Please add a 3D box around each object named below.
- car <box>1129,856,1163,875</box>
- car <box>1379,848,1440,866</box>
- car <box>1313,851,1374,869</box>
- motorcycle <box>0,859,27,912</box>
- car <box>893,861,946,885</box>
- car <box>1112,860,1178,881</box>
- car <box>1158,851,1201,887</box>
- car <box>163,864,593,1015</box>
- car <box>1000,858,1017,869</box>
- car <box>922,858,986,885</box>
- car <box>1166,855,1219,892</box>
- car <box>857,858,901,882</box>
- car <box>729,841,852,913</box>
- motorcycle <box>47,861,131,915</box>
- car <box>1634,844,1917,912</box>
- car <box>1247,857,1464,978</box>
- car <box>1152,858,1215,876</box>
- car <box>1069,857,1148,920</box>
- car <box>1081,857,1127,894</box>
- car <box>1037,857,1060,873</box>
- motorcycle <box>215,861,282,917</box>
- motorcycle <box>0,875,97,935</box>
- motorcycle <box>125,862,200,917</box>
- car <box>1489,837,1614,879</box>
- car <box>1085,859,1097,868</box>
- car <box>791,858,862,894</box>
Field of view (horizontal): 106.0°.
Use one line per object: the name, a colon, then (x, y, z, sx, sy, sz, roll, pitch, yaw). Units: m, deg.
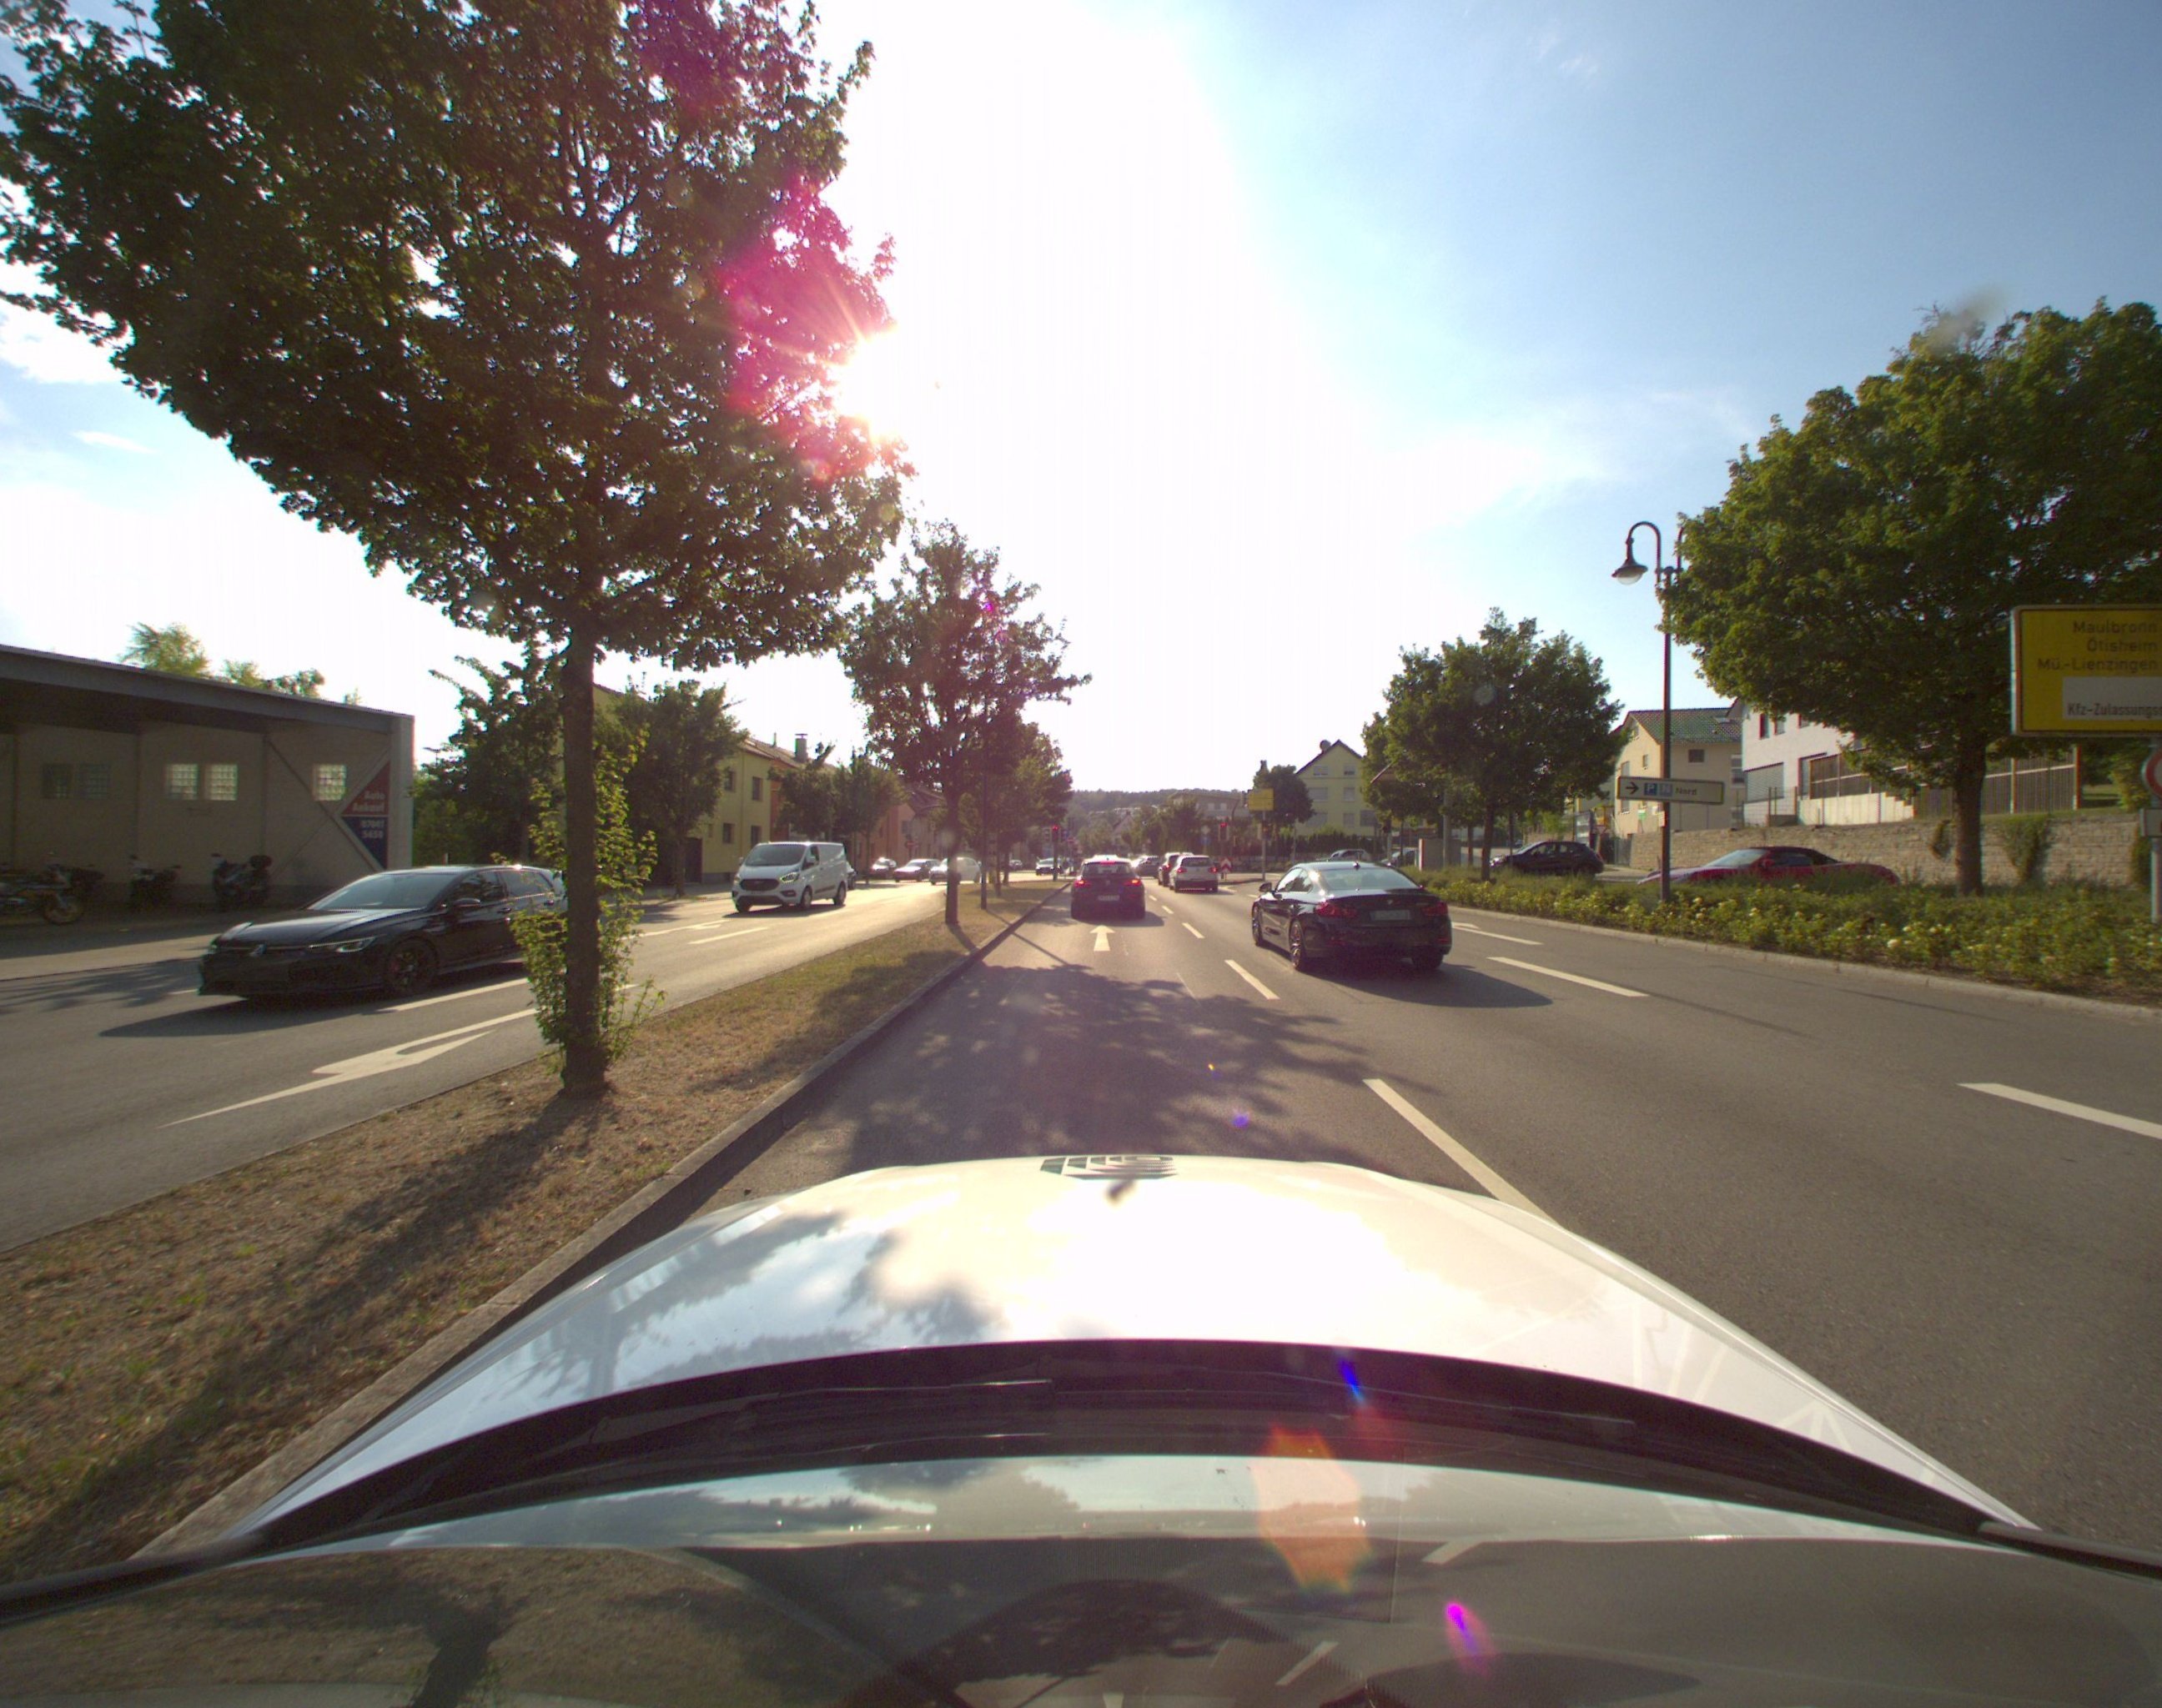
car: (6.169, 1.072, 77.761, 1.893, 1.702, 4.502, -2, 0, -14)
car: (25.424, 0.237, 63.054, 4.181, 1.386, 1.643, 0, 0, -14)
car: (21.767, 0.489, 67.555, 4.653, 1.485, 1.858, 0, 0, -16)
motorcycle: (-27.102, 0.789, 20.078, 0.585, 1.307, 2.071, 0, 0, -29)
car: (-10.442, 1.193, 53.062, 1.675, 1.462, 4.727, 0, 0, 12)
car: (4.548, 1.183, 58.421, 4.462, 1.349, 1.781, 0, 3, -9)
car: (4.779, 0.698, 40.008, 1.809, 1.666, 4.350, -1, 0, 3)
car: (-8.238, 0.881, 10.175, 1.763, 1.451, 4.108, -1, 0, 1)
car: (-10.429, 1.396, 117.416, 1.916, 1.596, 4.003, 0, 0, 3)
car: (-7.171, 0.963, 46.464, 1.785, 1.497, 3.977, -1, 0, 22)
car: (4.553, 0.769, 33.817, 1.809, 1.446, 4.350, -1, 0, 3)
car: (-14.207, 1.107, 57.525, 1.835, 1.552, 4.004, 2, 0, 4)
car: (-8.454, 0.625, 24.249, 1.816, 1.923, 4.945, -1, 0, 1)
motorcycle: (-25.302, 0.841, 20.825, 0.625, 1.307, 2.071, 0, 0, -29)
car: (13.844, 0.463, 16.515, 3.959, 1.272, 1.861, 0, 0, 13)
car: (3.619, 0.744, 11.609, 1.809, 1.388, 4.350, -1, 0, 3)
car: (8.111, 1.013, 64.757, 4.632, 1.422, 1.842, 0, 0, -12)
car: (0.729, 0.800, 20.776, 1.783, 1.414, 4.350, -1, 0, 3)
car: (1.016, 0.854, 34.236, 1.809, 1.451, 4.244, -1, 0, 3)
car: (-2.988, 0.989, 74.903, 1.759, 1.458, 4.003, 0, 0, 3)
motorcycle: (-20.762, 0.838, 20.352, 0.564, 1.307, 2.096, 0, 0, -29)
motorcycle: (-20.940, 1.003, 15.871, 0.623, 1.124, 2.168, -1, 0, 31)
motorcycle: (-22.967, 0.855, 20.397, 0.564, 1.307, 2.071, 0, 0, -29)
car: (18.759, 0.154, 32.651, 3.959, 1.608, 1.861, 0, 0, 13)
car: (1.661, 1.576, 138.495, 1.916, 1.596, 4.003, 0, 0, 3)
car: (-11.529, 0.958, 37.142, 1.800, 1.497, 4.247, 0, 0, 1)
